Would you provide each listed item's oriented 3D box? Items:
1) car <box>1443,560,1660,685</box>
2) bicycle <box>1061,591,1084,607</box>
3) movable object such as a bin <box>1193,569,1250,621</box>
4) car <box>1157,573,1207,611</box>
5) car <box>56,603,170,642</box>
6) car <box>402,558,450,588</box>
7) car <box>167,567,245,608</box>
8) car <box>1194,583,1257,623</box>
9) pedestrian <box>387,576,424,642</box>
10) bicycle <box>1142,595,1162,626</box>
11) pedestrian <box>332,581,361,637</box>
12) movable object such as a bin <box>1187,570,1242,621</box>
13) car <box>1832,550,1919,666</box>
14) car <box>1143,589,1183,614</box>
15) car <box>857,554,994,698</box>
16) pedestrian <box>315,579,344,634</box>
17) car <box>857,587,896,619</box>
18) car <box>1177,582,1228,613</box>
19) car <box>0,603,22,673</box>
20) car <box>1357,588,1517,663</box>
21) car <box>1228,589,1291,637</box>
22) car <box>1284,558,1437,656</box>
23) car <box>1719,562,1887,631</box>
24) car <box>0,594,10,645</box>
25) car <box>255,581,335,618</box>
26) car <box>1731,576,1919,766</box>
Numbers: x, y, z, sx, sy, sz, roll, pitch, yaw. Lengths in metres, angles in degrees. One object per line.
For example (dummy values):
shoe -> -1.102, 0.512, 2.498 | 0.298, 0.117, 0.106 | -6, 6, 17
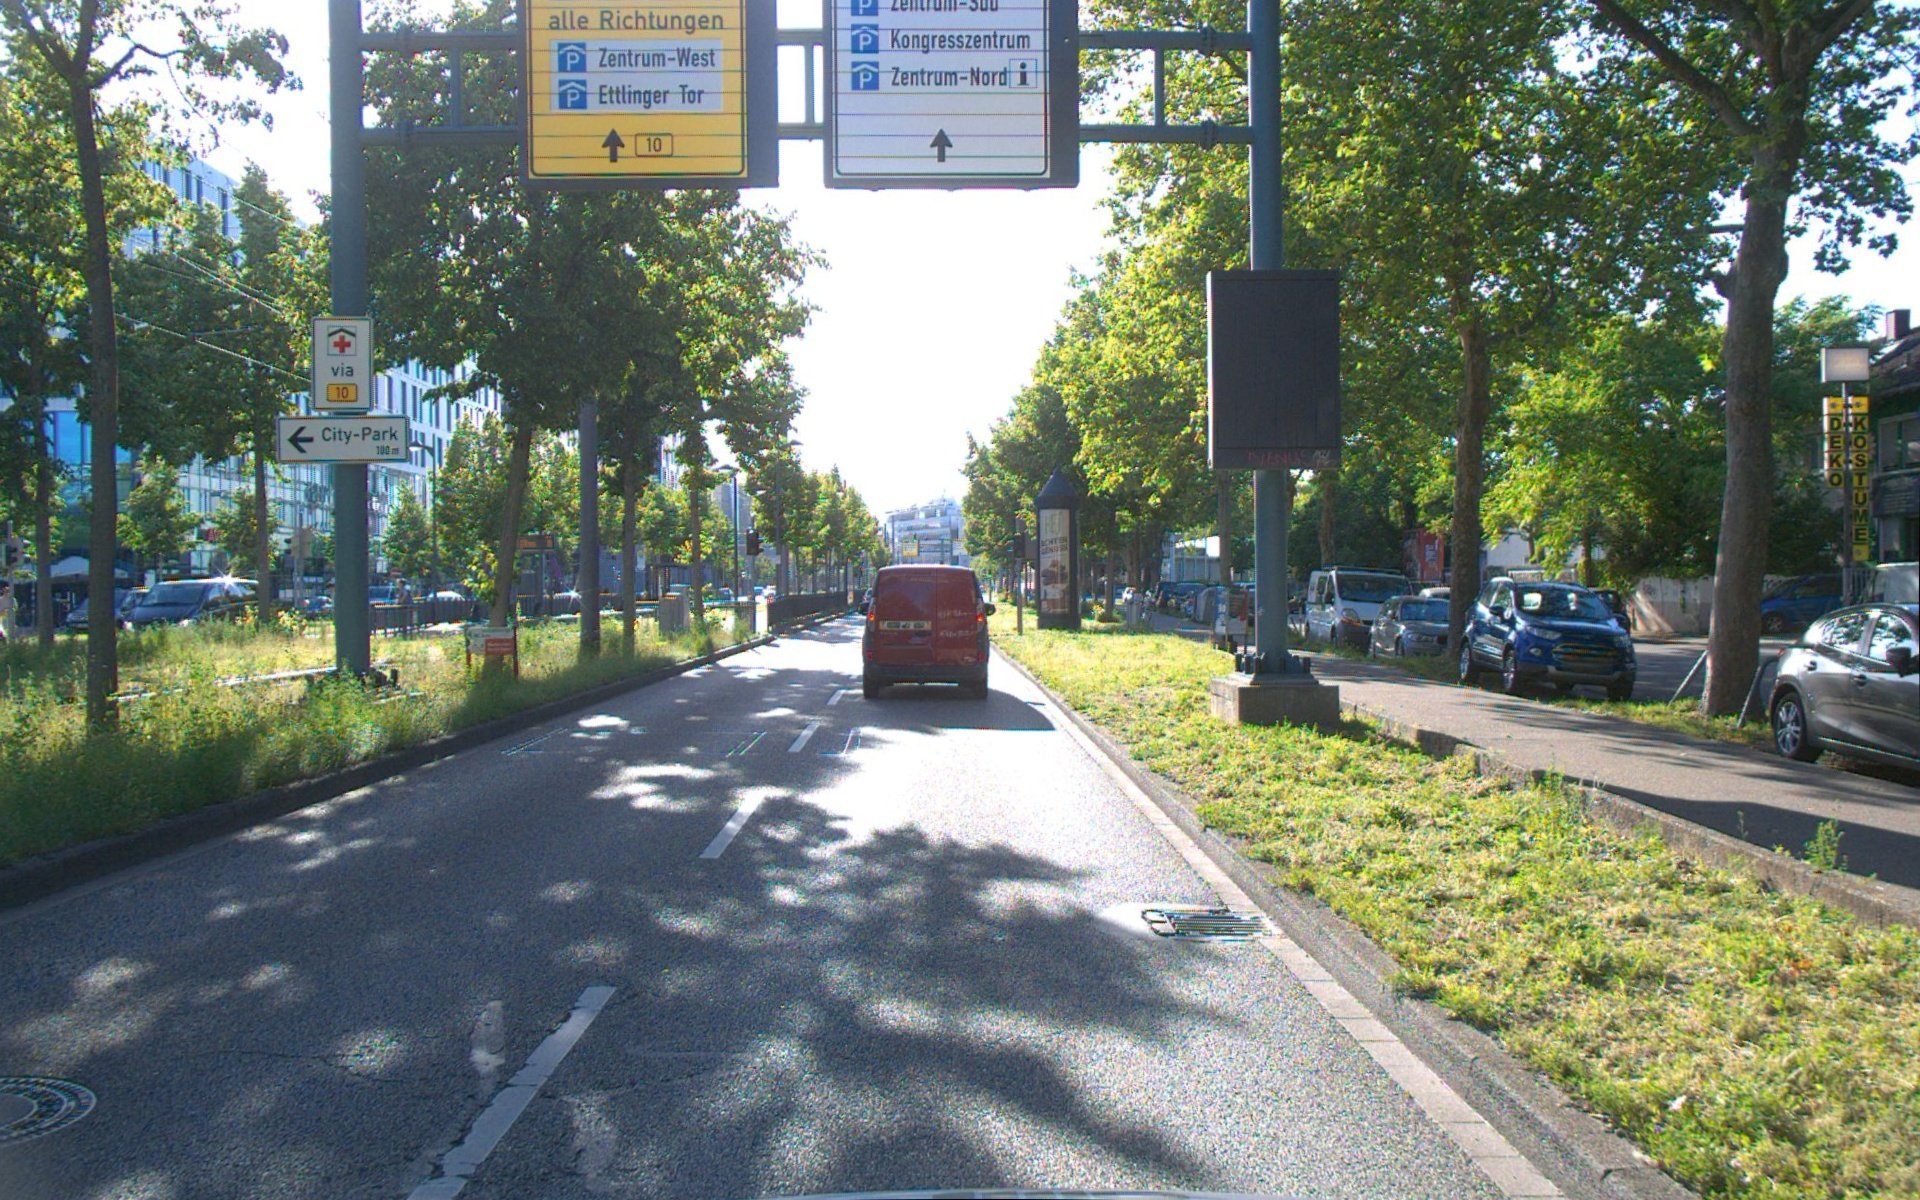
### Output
car -> 8.719, 0.309, 24.778 | 1.701, 1.670, 4.353 | 1, 0, 0
bicycle -> 9.160, -0.069, 134.687 | 1.878, 1.290, 0.479 | 0, 0, 0
movable object such as a bin -> 10.487, -0.195, 66.457 | 2.038, 2.049, 2.137 | 1, 0, 3
car -> 11.547, -0.408, 86.288 | 1.833, 1.852, 4.891 | 1, 0, -1
car -> -31.823, 0.825, 62.315 | 1.873, 1.348, 4.610 | 1, 0, 0
car -> -38.892, -1.955, 120.534 | 1.953, 2.049, 4.563 | 1, 0, 0
car -> -39.833, -0.657, 87.509 | 1.953, 2.049, 4.563 | 2, 0, 0
car -> 9.916, 0.128, 62.072 | 1.957, 1.408, 4.747 | 1, 0, 5
pedestrian -> -15.926, 0.270, 47.523 | 0.804, 1.868, 0.726 | 1, 0, -4
bicycle -> 6.944, 0.375, 59.880 | 0.483, 1.065, 1.904 | 1, 0, 1
pedestrian -> -17.149, 0.252, 46.223 | 0.538, 1.545, 0.589 | 1, 0, 4
movable object such as a bin -> 10.615, -0.175, 69.222 | 2.038, 2.049, 2.137 | 1, 0, 3
car -> 17.943, 0.142, 29.868 | 2.043, 2.049, 4.945 | 0, 0, 4
car -> 12.002, 0.099, 97.944 | 1.833, 1.391, 3.999 | 1, 0, -1
car -> -0.579, 0.345, 23.837 | 1.773, 1.870, 3.997 | 1, 0, -4
pedestrian -> -17.801, 0.180, 46.725 | 0.531, 1.523, 0.603 | 1, 0, 3
car -> -4.583, 0.168, 90.889 | 1.953, 1.646, 3.999 | 1, 0, -1
car -> 11.778, -0.101, 80.610 | 1.833, 1.413, 3.999 | 1, 0, -1
car -> -23.015, 0.880, 36.695 | 1.952, 1.599, 4.167 | 0, 0, 2
car -> 9.160, 0.468, 32.095 | 1.952, 1.312, 4.053 | 1, 0, 0
car -> 10.087, 0.433, 55.902 | 1.627, 1.527, 2.990 | 1, 0, 2
car -> 9.155, 0.155, 38.362 | 2.145, 2.049, 5.820 | 1, 0, 0
car -> 24.725, -0.100, 48.594 | 4.000, 1.883, 1.849 | 1, 0, -1
car -> -31.835, 0.608, 51.452 | 1.841, 1.649, 4.610 | 1, 0, 0
car -> -31.864, -0.030, 79.366 | 1.953, 1.701, 4.610 | 1, 0, 0
car -> 8.140, 0.560, 13.152 | 1.952, 1.405, 4.678 | 2, 0, 2
